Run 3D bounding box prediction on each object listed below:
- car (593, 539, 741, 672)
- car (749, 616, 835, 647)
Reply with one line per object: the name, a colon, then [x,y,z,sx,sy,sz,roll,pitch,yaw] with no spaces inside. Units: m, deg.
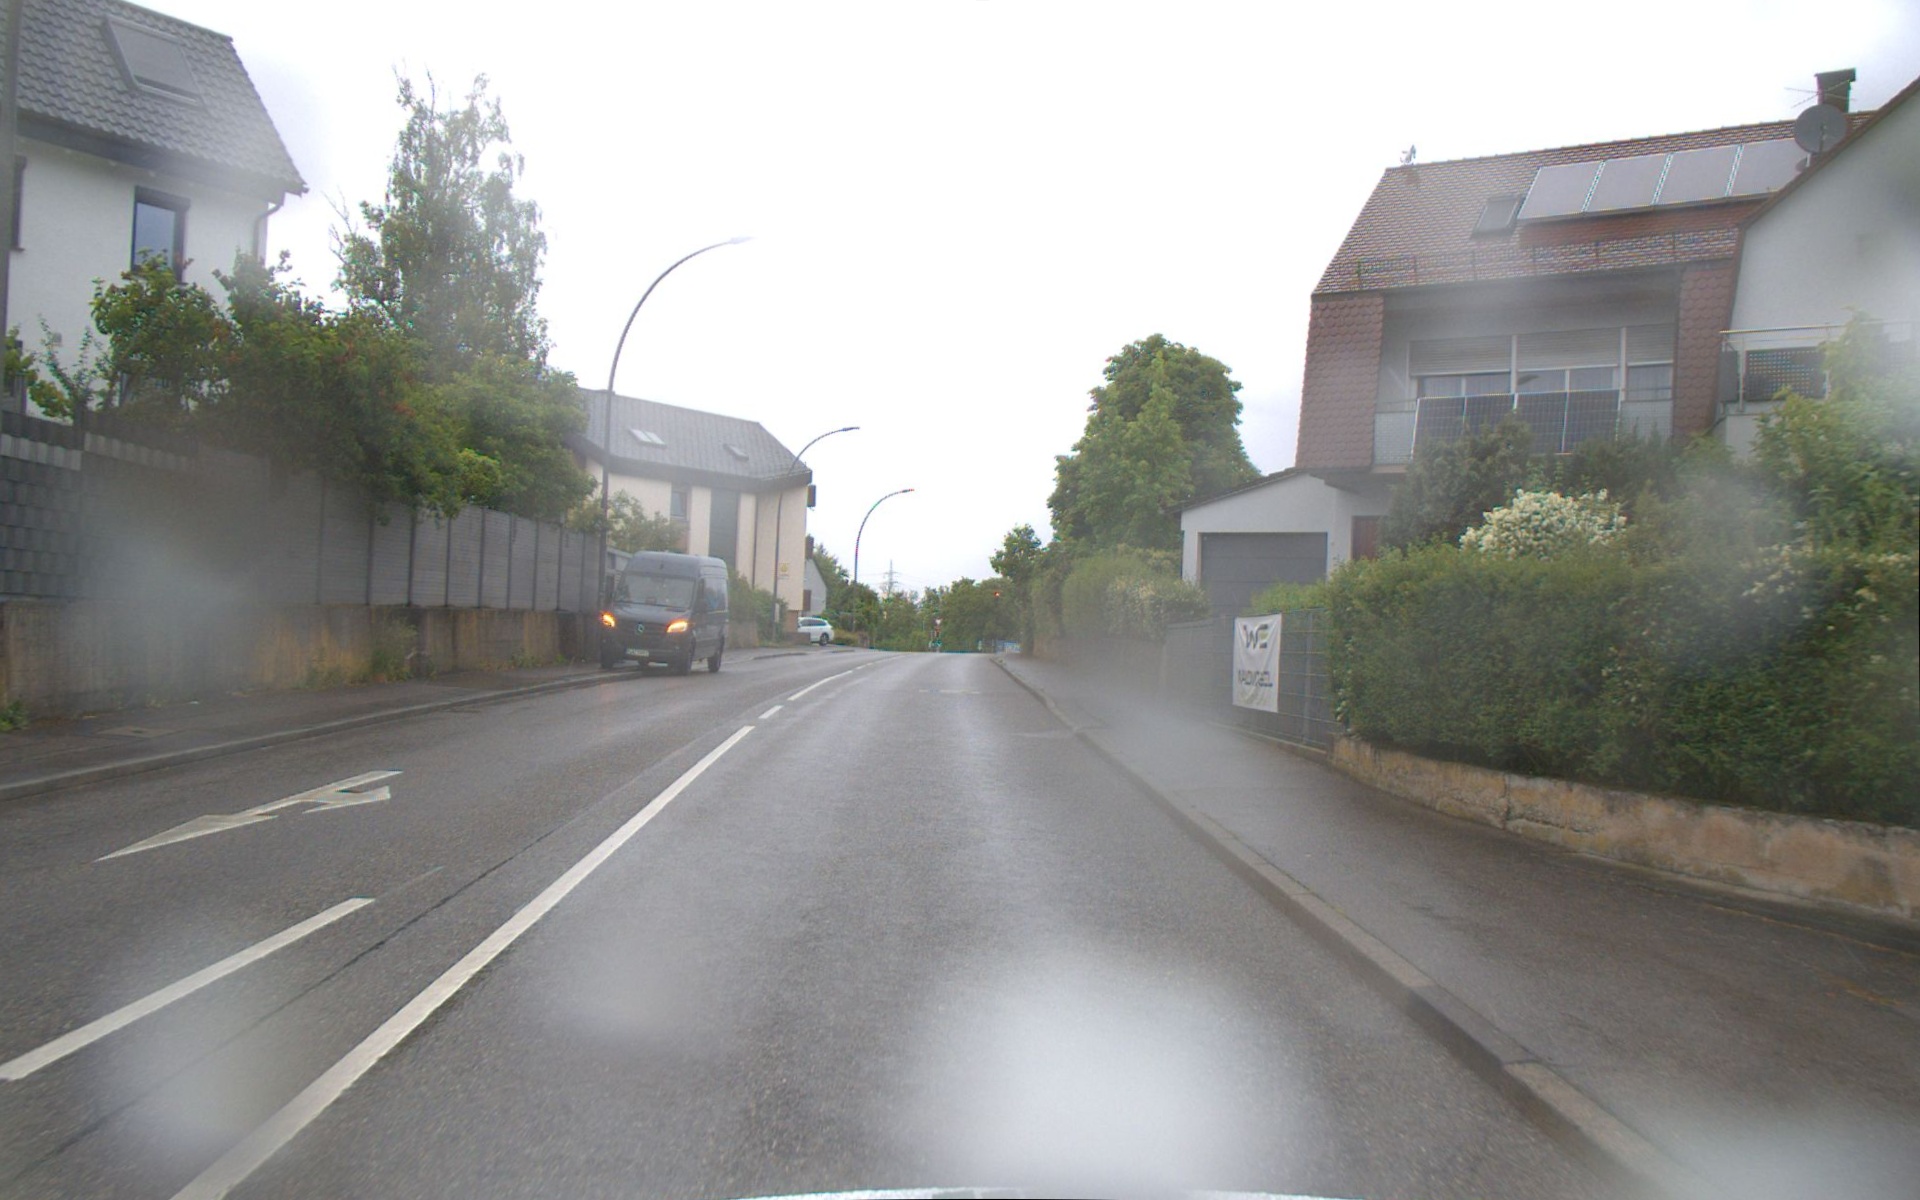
car: [-6.562,0.154,37.764,2.051,2.695,5.919,3,-1,1]
car: [-9.089,1.718,89.895,1.869,1.503,4.864,2,-1,35]
